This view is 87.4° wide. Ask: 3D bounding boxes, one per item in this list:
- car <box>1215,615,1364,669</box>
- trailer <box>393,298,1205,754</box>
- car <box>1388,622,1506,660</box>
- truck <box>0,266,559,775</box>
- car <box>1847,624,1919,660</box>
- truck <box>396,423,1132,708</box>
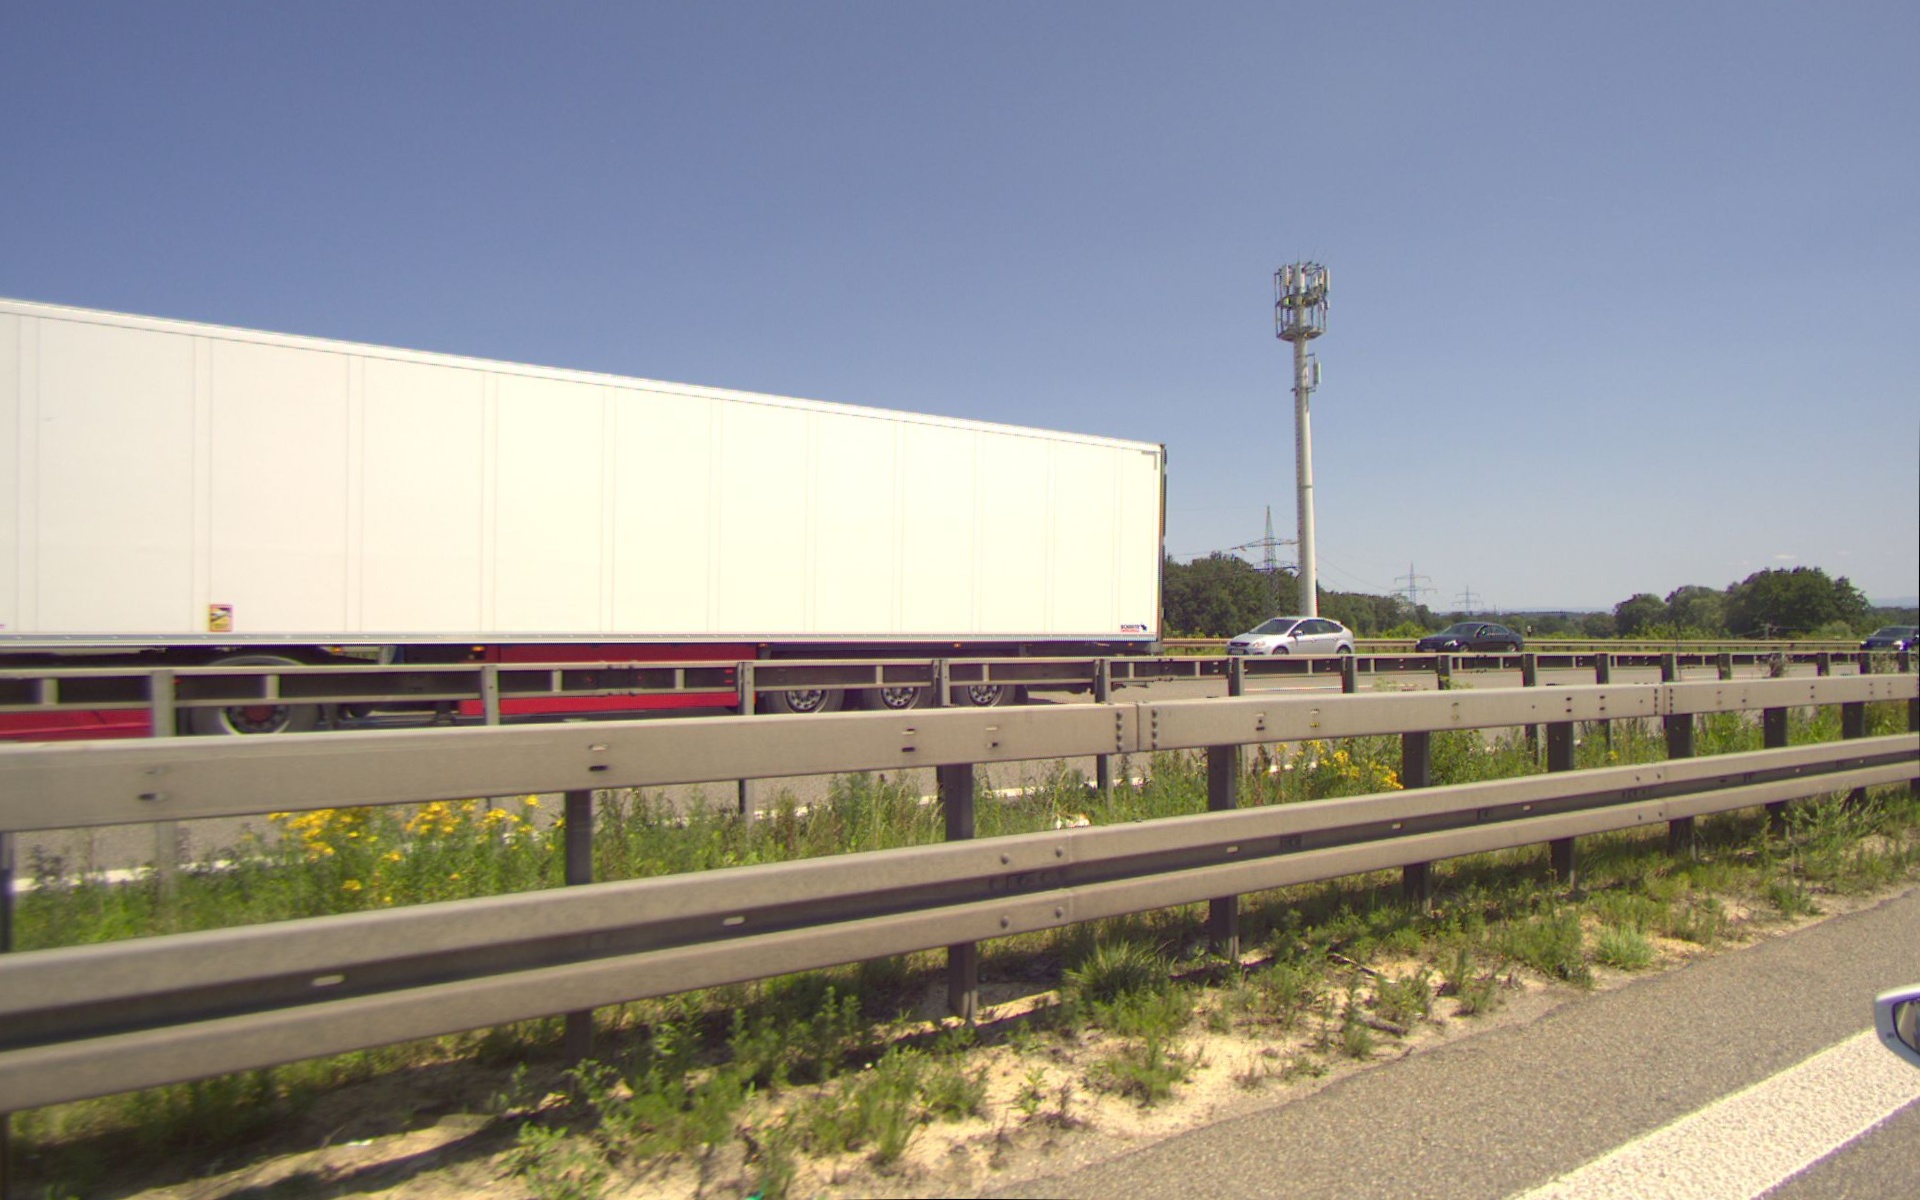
[{"bbox_3d":[9.794,1.232,29.780,4.388,1.465,1.742,1,0,-30],"label":"car"},{"bbox_3d":[-1.607,-0.579,13.757,10.610,4.430,2.940,2,0,-31],"label":"trailer"},{"bbox_3d":[18.748,1.564,38.623,4.608,1.333,1.822,1,0,-30],"label":"car"},{"bbox_3d":[-8.177,-0.643,9.784,7.511,4.174,2.952,2,0,-31],"label":"truck"},{"bbox_3d":[45.869,2.064,49.631,3.952,1.635,1.870,1,0,-29],"label":"car"},{"bbox_3d":[-2.860,-0.334,18.216,12.752,3.836,3.203,1,0,-31],"label":"truck"}]
